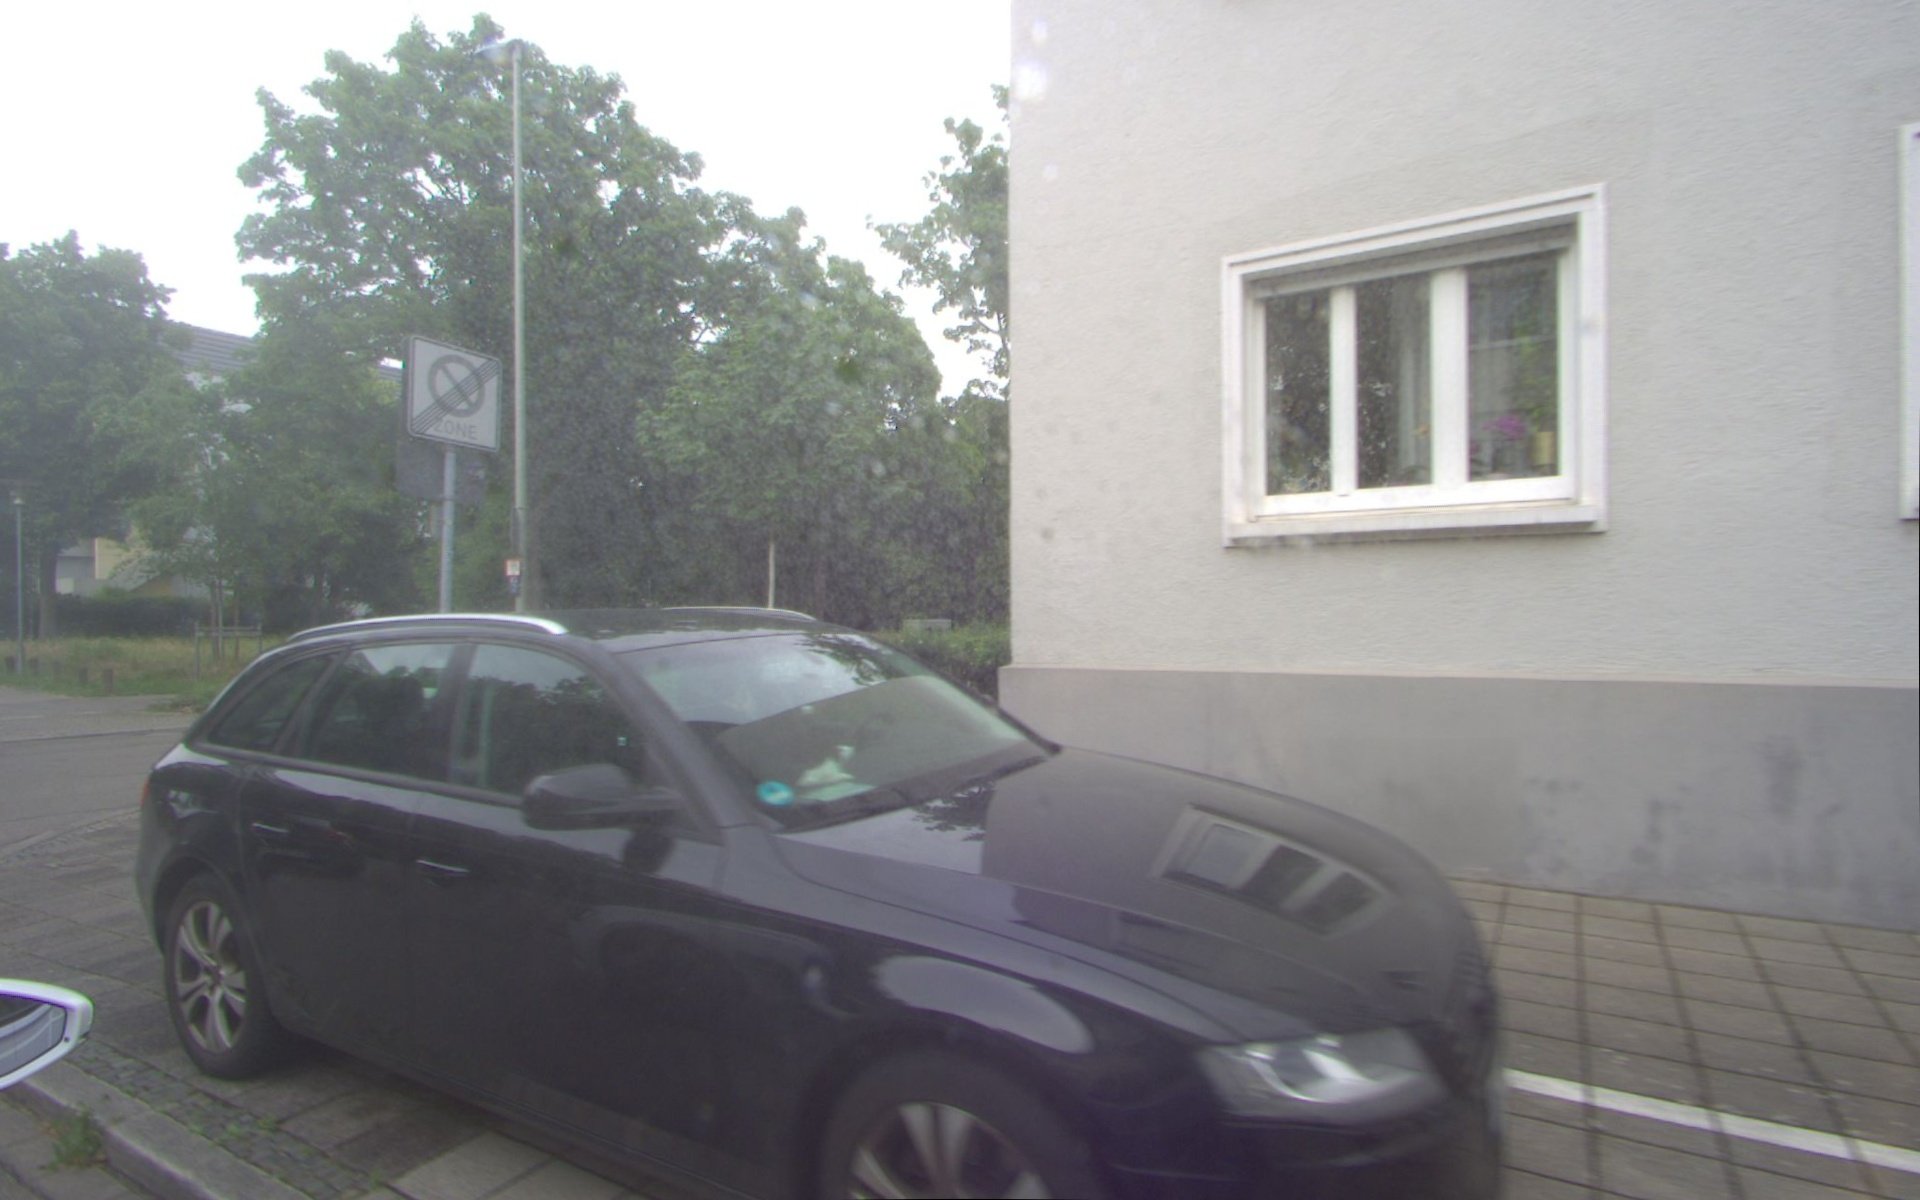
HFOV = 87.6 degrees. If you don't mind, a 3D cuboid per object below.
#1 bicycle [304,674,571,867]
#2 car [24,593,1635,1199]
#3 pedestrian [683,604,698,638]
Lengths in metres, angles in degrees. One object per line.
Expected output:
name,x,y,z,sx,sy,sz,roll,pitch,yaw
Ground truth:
bicycle,-3.278,0.992,6.216,1.862,1.017,0.566,-3,0,32
car,-0.783,0.755,3.128,4.655,1.482,1.858,-1,0,30
pedestrian,-14.610,1.119,54.203,0.537,1.822,0.568,1,0,42
